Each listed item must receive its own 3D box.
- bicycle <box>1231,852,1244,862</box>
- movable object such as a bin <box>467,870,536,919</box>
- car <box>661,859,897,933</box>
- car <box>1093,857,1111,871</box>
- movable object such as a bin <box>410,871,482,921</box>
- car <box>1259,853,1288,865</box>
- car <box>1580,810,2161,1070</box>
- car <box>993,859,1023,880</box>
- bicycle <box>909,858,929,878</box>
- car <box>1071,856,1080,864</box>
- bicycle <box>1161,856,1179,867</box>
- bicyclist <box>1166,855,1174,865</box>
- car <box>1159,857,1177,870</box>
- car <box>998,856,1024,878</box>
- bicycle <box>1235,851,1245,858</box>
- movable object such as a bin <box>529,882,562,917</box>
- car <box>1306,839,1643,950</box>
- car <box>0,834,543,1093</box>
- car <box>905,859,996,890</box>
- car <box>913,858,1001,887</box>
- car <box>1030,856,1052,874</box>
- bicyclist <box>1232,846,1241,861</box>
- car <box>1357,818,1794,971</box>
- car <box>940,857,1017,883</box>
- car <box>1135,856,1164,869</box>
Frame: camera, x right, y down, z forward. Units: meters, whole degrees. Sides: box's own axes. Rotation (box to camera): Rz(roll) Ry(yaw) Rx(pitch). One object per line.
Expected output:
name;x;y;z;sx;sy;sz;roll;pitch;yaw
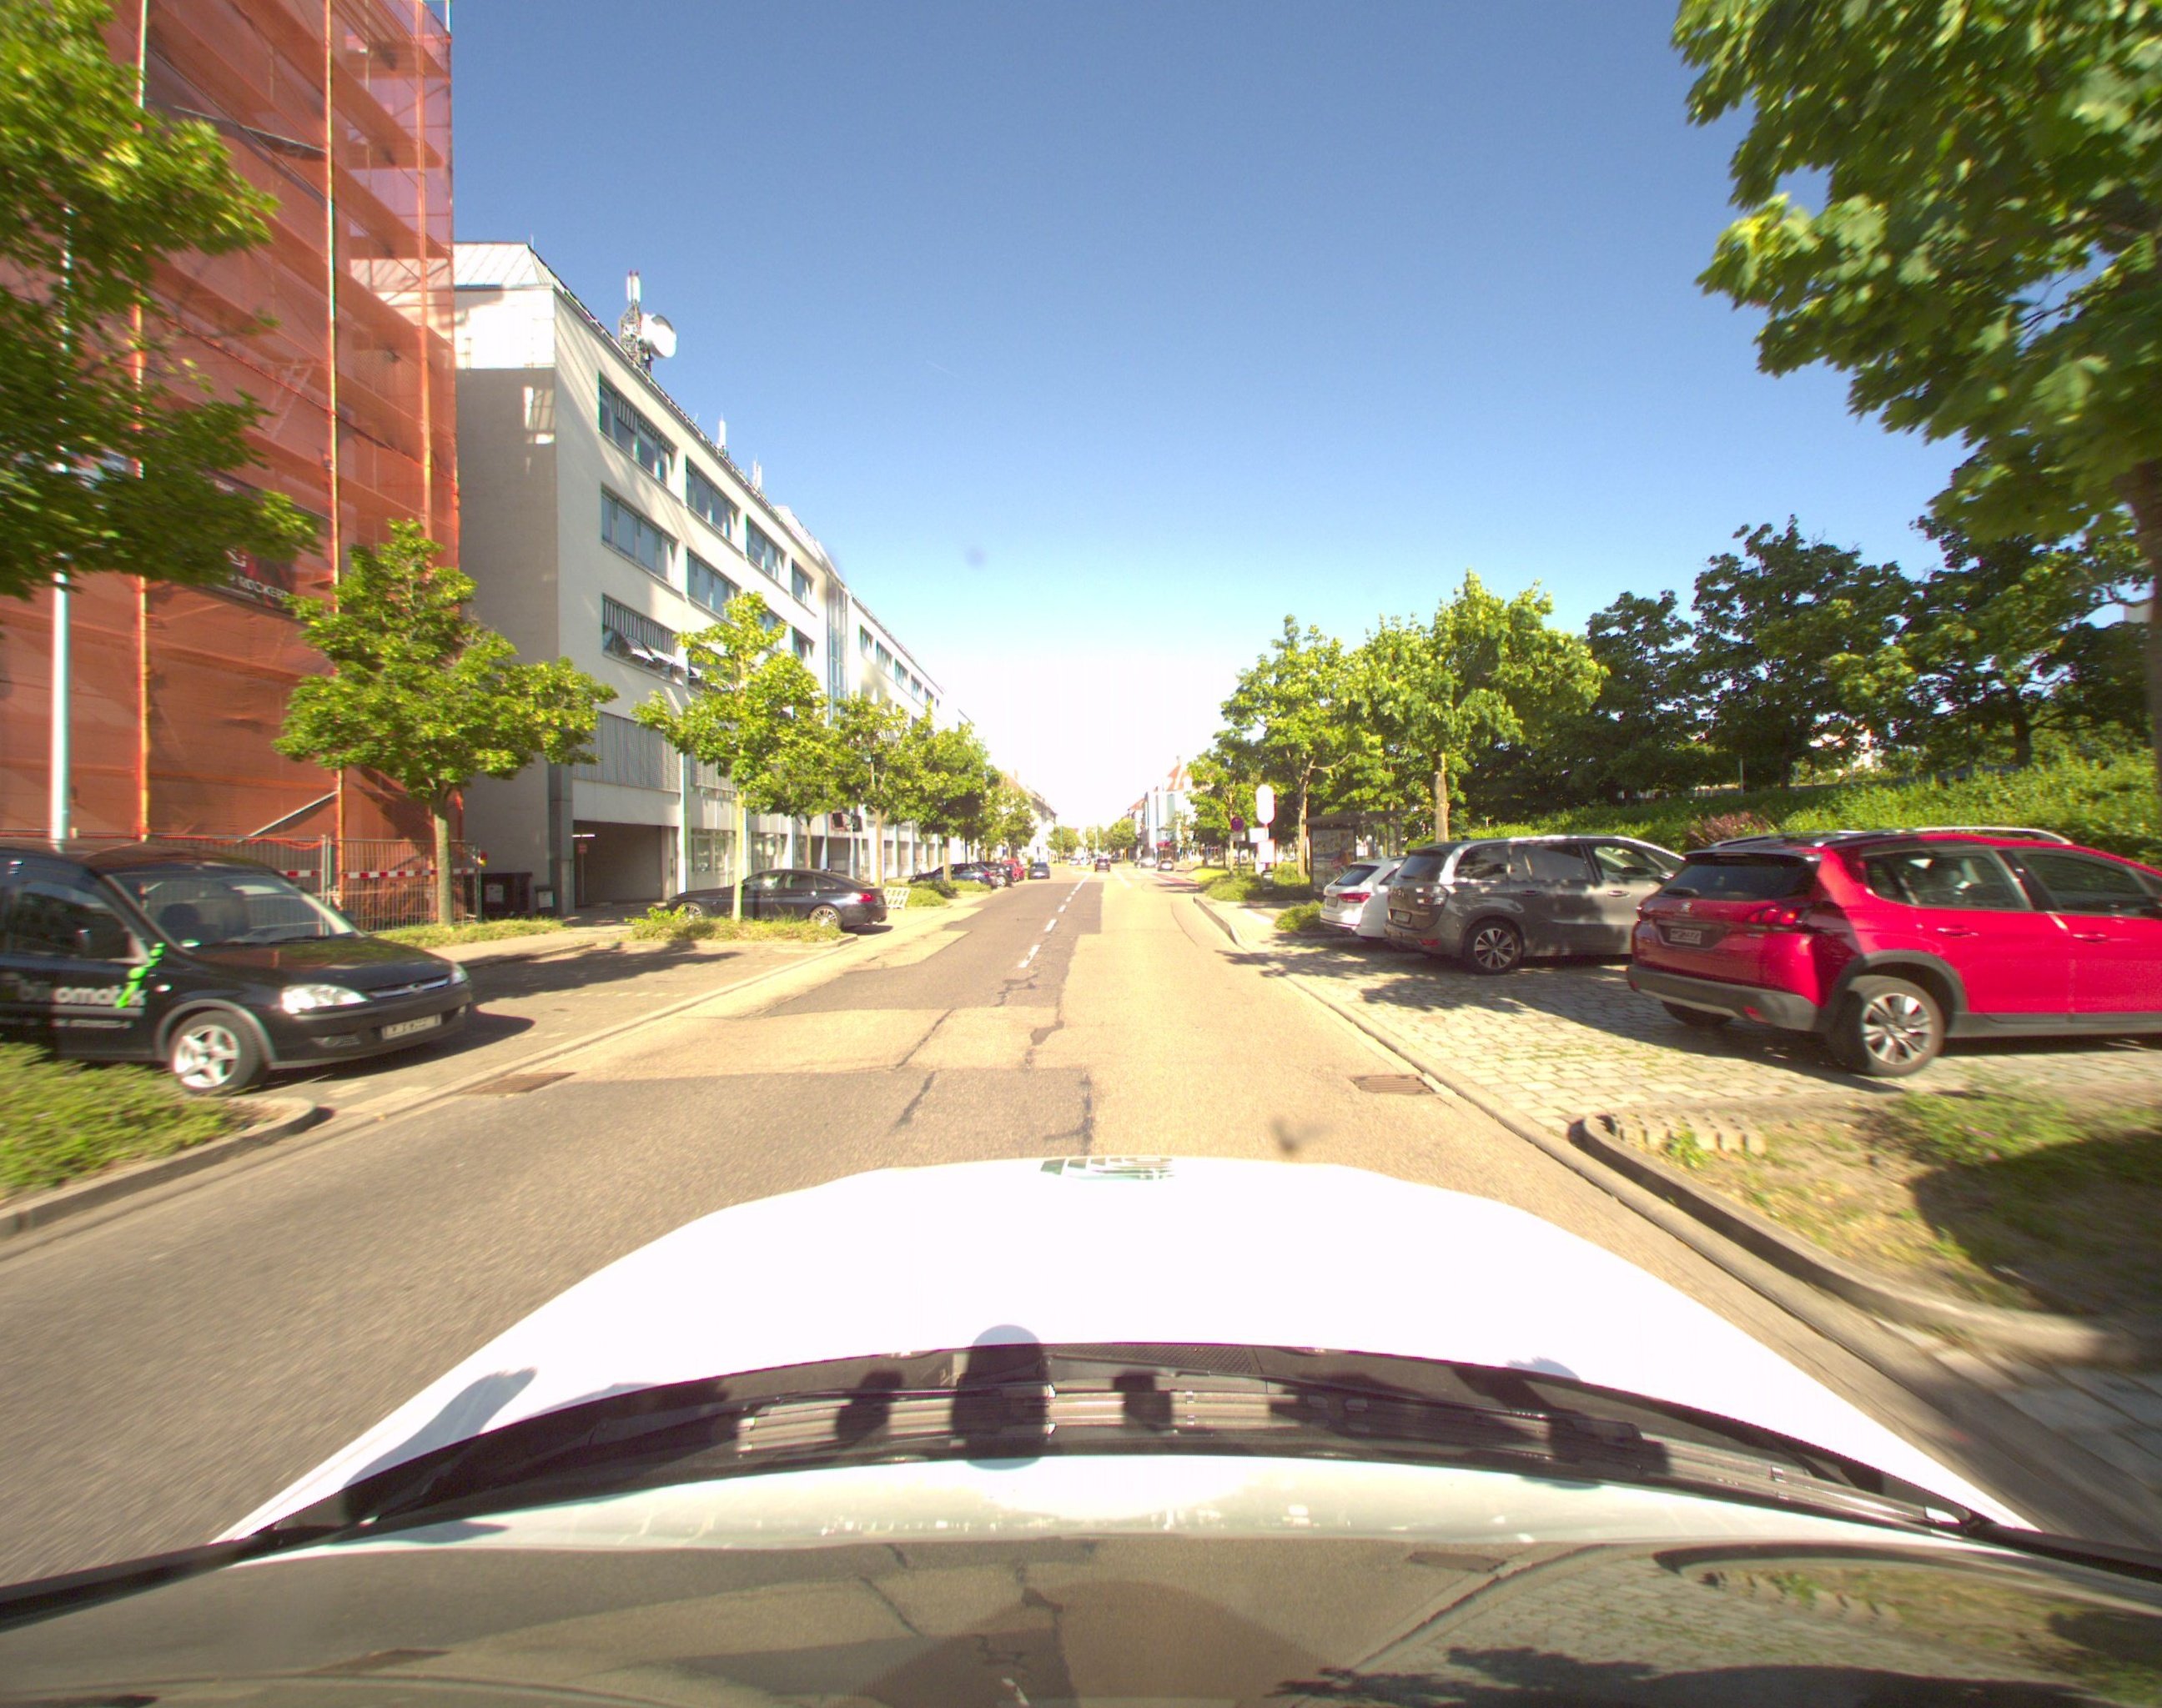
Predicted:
bicycle;21.195;0.430;110.394;0.782;1.348;2.277;-2;0;39
movable object such as a bin;-16.163;1.107;22.727;1.231;1.280;0.915;-2;0;4
car;-6.445;0.875;17.794;4.375;1.432;1.976;1;0;-3
car;2.489;1.149;95.545;1.750;1.628;4.473;1;0;-3
movable object such as a bin;-17.576;1.148;22.566;1.231;1.280;0.915;-2;0;4
car;27.458;0.725;116.222;3.839;1.577;1.696;1;0;5
car;6.472;0.503;6.021;4.386;1.536;1.877;-2;0;1
car;-5.217;1.070;58.831;1.682;1.432;3.873;1;0;1
bicycle;-11.231;0.955;56.520;0.705;1.347;2.236;-2;0;7
car;-1.116;1.168;164.832;1.747;1.556;3.733;1;0;2
bicycle;11.883;0.973;108.969;2.233;1.348;0.798;-2;0;36
bicyclist;11.901;0.796;108.964;0.695;1.348;0.798;-2;0;36
car;10.629;1.119;99.784;1.683;1.577;3.869;1;0;-2
car;-5.440;0.981;64.059;1.683;1.607;4.309;1;0;-1
bicycle;29.962;0.107;153.478;1.859;1.182;0.561;-2;0;-4
movable object such as a bin;-15.161;1.278;23.055;0.484;0.927;0.611;-2;-1;4
car;6.027;0.601;12.881;4.386;1.463;1.896;-2;0;1
car;-7.198;0.740;6.636;4.368;1.745;1.848;1;0;2
car;-6.565;1.022;41.394;4.374;1.432;1.692;1;0;-3
car;-6.634;0.994;43.852;4.367;1.432;1.695;1;0;2
car;-3.407;0.926;69.663;1.683;1.468;4.544;-2;0;-2
bicyclist;21.092;-0.062;110.250;0.782;1.959;1.017;-2;0;39
car;6.144;0.477;10.594;4.386;1.641;2.075;-2;0;1
car;-6.022;0.918;48.304;4.373;1.432;1.692;1;0;-2
car;9.571;1.206;114.242;3.939;1.600;1.675;-2;0;-1
